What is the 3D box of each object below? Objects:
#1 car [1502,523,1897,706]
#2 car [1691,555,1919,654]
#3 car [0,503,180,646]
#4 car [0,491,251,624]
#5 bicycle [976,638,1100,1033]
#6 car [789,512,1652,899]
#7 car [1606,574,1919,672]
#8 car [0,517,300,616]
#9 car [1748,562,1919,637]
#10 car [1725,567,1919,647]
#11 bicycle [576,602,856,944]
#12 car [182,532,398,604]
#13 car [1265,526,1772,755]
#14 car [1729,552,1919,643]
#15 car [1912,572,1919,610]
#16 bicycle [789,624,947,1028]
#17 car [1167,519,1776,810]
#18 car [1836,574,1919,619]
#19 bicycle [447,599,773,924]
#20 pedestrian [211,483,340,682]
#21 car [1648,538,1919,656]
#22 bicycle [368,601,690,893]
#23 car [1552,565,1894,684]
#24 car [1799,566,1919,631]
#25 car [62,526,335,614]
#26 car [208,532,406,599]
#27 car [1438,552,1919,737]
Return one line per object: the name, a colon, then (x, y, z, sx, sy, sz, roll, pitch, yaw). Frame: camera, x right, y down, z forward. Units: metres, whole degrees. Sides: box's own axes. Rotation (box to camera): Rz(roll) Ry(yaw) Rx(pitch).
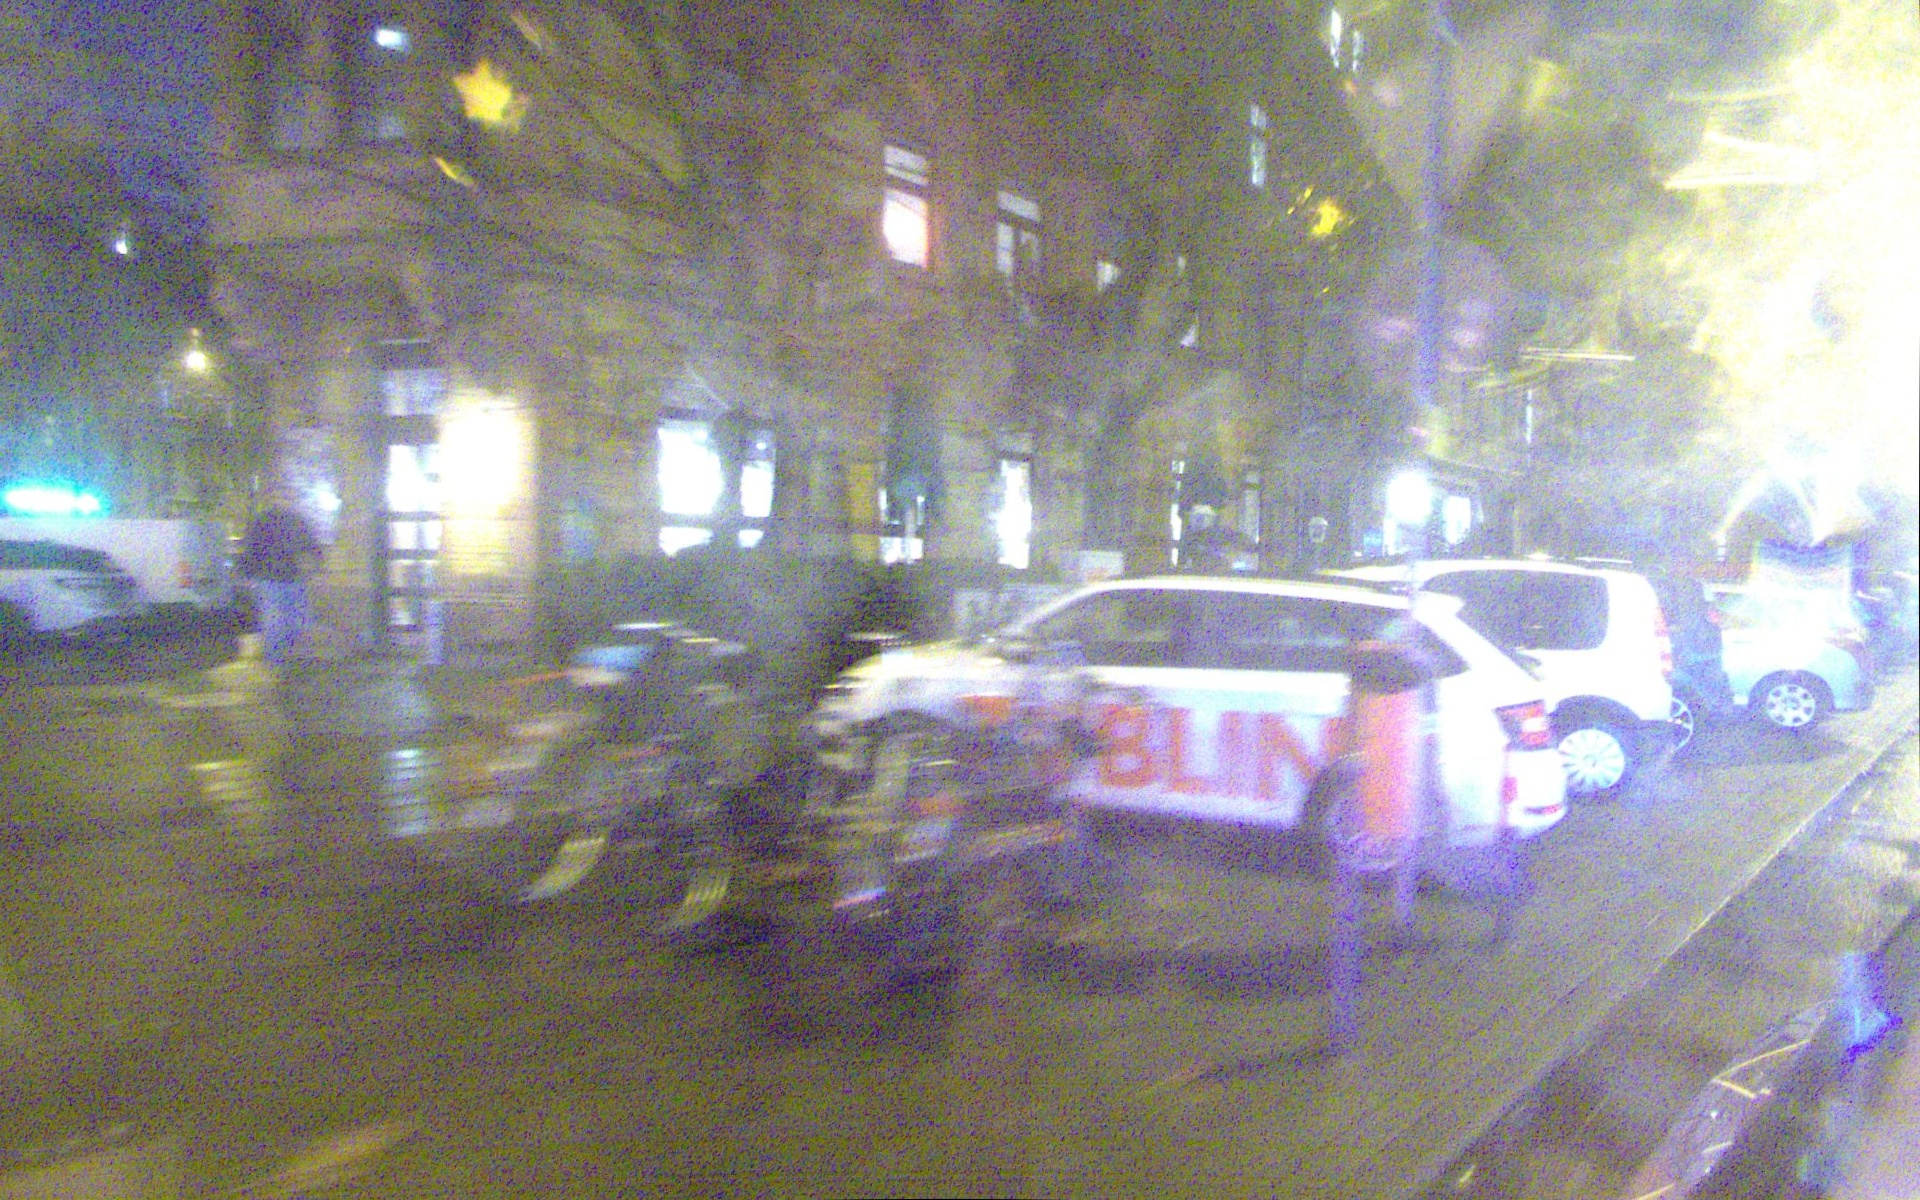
car: (9.458, 0.102, 13.294, 3.684, 2.053, 1.715, 3, 3, 14)
car: (17.786, 0.053, 20.888, 3.873, 1.814, 1.738, 3, 3, 12)
car: (-13.534, -0.340, 13.158, 4.989, 1.784, 2.004, 0, 1, -19)
car: (-14.293, -0.630, 15.358, 5.431, 1.913, 2.004, 0, 1, -19)
bicycle: (0.249, 0.730, 3.817, 0.330, 1.039, 1.646, 2, 2, 1)
car: (1.288, 0.366, 5.981, 4.211, 1.592, 1.761, 3, 3, 20)
car: (13.526, 0.327, 17.104, 3.997, 1.471, 1.672, 1, 2, 14)
car: (-15.734, -0.629, 19.804, 4.369, 1.784, 2.004, 0, 1, -19)
car: (23.744, -0.042, 27.029, 3.896, 1.763, 1.696, 4, 3, 27)
car: (20.002, 0.139, 22.838, 3.878, 1.568, 1.736, 3, 3, 15)
bicycle: (-0.934, 0.604, 4.314, 0.331, 1.038, 1.638, 1, 5, 18)
car: (-17.452, -0.814, 26.621, 4.369, 1.784, 2.004, 0, 1, -19)
car: (4.911, 0.261, 9.515, 3.738, 1.733, 1.742, 3, 3, 14)
car: (22.022, -0.075, 24.692, 4.653, 2.004, 1.968, 3, 3, 19)
car: (41.833, -0.265, 41.306, 3.894, 1.581, 1.696, 4, 3, 25)
bicycle: (-0.286, 0.694, 3.823, 0.330, 1.038, 1.646, 2, 4, 3)
car: (3.521, 0.337, 7.719, 3.685, 1.733, 1.765, 3, 3, 14)
car: (34.222, -0.109, 36.248, 3.894, 1.481, 1.696, 4, 3, 25)
bicycle: (-1.410, 0.571, 4.396, 0.332, 1.106, 1.634, 3, 2, 21)
pedestrian: (-6.618, -0.188, 9.838, 0.793, 1.839, 0.793, -1, 3, -17)
car: (15.647, -0.098, 19.127, 3.873, 1.966, 1.738, 3, 3, 12)
bicycle: (-1.903, 0.570, 4.723, 0.332, 1.039, 1.635, 3, 3, 21)
car: (11.258, 0.298, 15.233, 3.655, 1.470, 1.650, 3, 3, 17)
car: (26.009, -0.021, 27.995, 3.896, 1.639, 1.696, 4, 3, 27)
car: (-16.466, -0.622, 22.188, 4.369, 1.784, 2.004, 0, 1, -19)
car: (-18.386, -0.957, 28.732, 4.369, 1.784, 2.004, 0, 1, -19)
car: (7.668, 0.363, 11.261, 4.024, 1.617, 1.822, 3, 3, 21)
